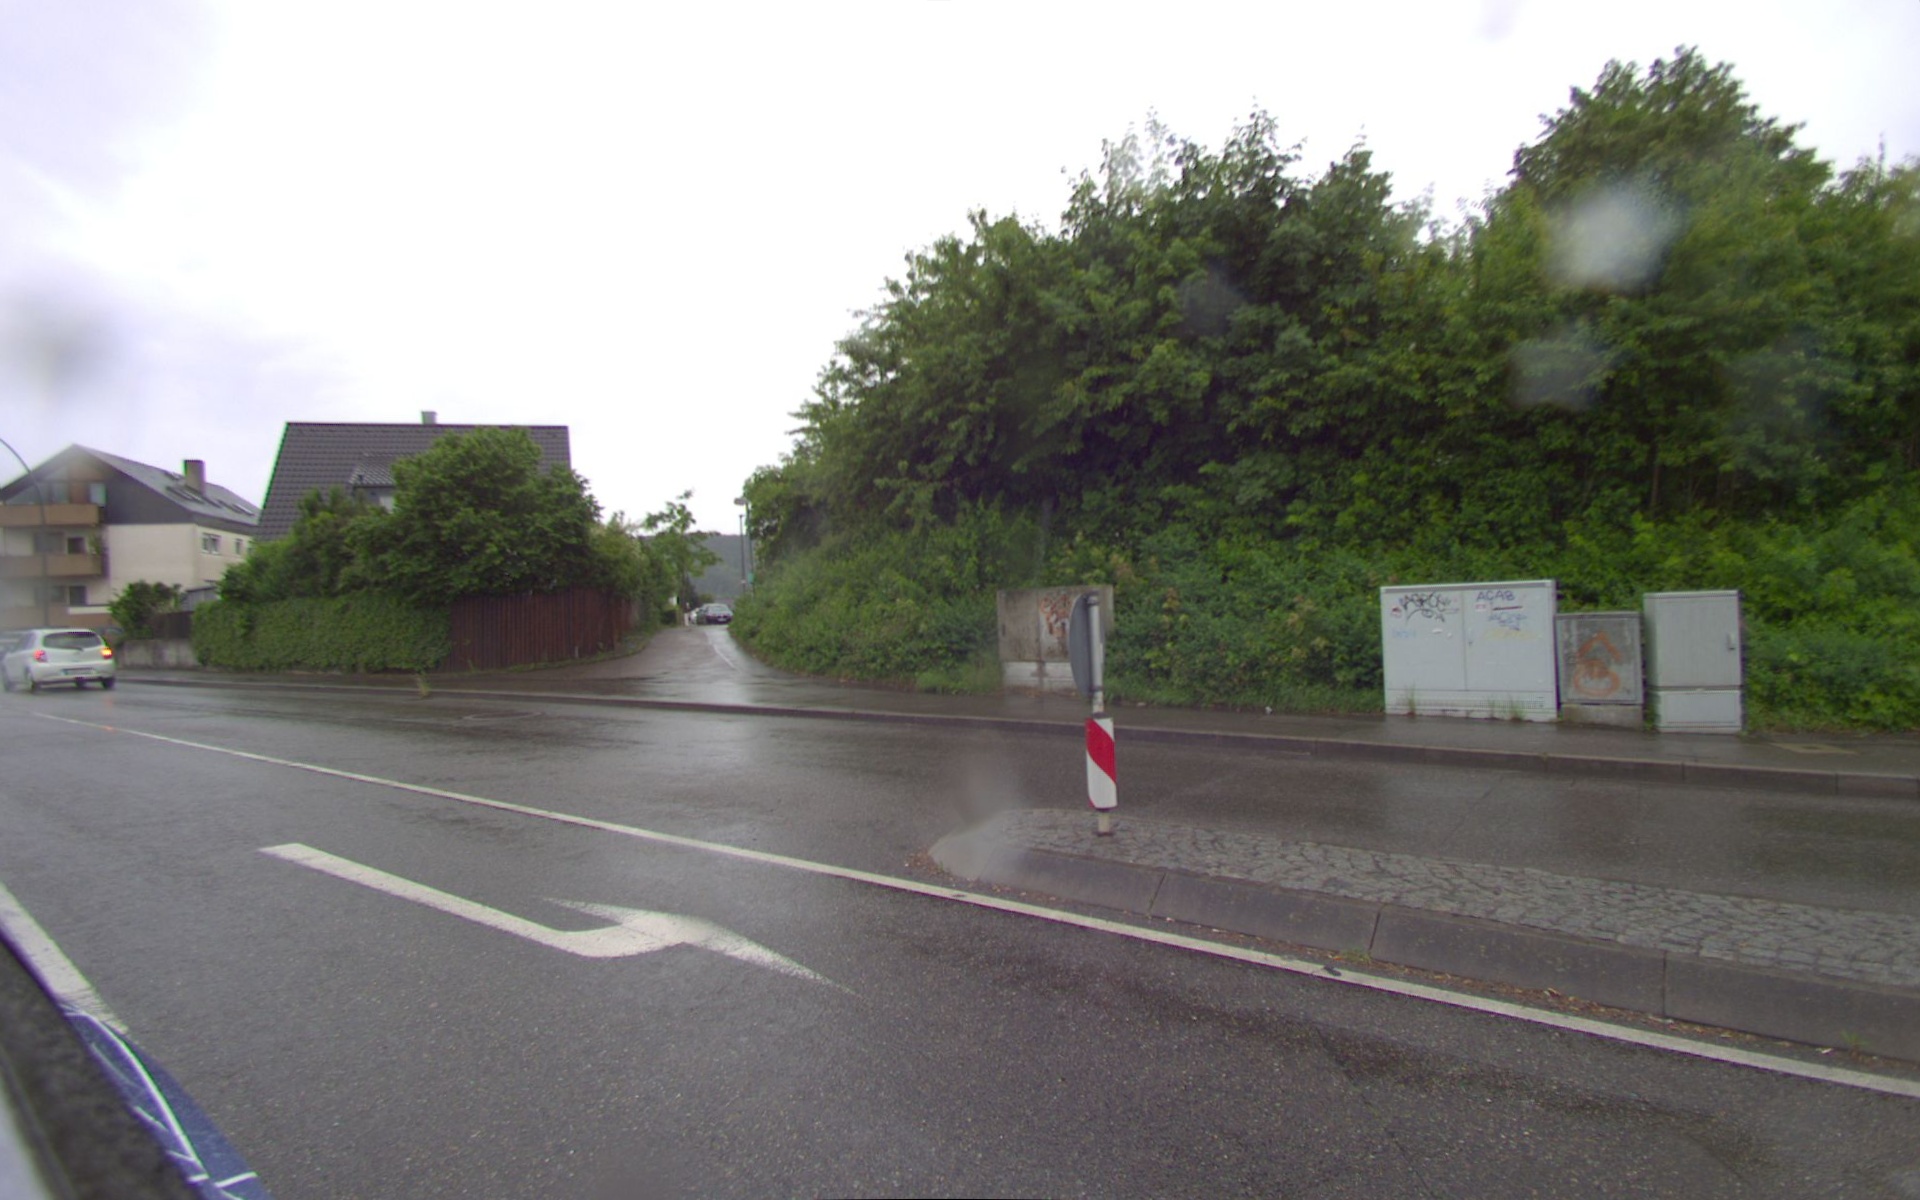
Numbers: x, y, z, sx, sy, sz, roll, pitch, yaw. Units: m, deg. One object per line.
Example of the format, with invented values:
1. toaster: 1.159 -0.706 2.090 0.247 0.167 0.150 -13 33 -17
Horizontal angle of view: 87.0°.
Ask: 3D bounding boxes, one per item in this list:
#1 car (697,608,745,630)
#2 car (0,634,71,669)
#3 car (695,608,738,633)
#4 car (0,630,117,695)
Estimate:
1. car: -17.377 1.342 73.517 1.967 1.497 4.009 -1 0 -37
2. car: -46.716 2.539 50.757 1.638 1.558 4.011 -1 0 -15
3. car: -15.847 1.346 65.808 1.867 1.494 4.013 -1 -1 -26
4. car: -22.998 1.537 25.585 3.812 1.516 1.607 -2 -2 34
